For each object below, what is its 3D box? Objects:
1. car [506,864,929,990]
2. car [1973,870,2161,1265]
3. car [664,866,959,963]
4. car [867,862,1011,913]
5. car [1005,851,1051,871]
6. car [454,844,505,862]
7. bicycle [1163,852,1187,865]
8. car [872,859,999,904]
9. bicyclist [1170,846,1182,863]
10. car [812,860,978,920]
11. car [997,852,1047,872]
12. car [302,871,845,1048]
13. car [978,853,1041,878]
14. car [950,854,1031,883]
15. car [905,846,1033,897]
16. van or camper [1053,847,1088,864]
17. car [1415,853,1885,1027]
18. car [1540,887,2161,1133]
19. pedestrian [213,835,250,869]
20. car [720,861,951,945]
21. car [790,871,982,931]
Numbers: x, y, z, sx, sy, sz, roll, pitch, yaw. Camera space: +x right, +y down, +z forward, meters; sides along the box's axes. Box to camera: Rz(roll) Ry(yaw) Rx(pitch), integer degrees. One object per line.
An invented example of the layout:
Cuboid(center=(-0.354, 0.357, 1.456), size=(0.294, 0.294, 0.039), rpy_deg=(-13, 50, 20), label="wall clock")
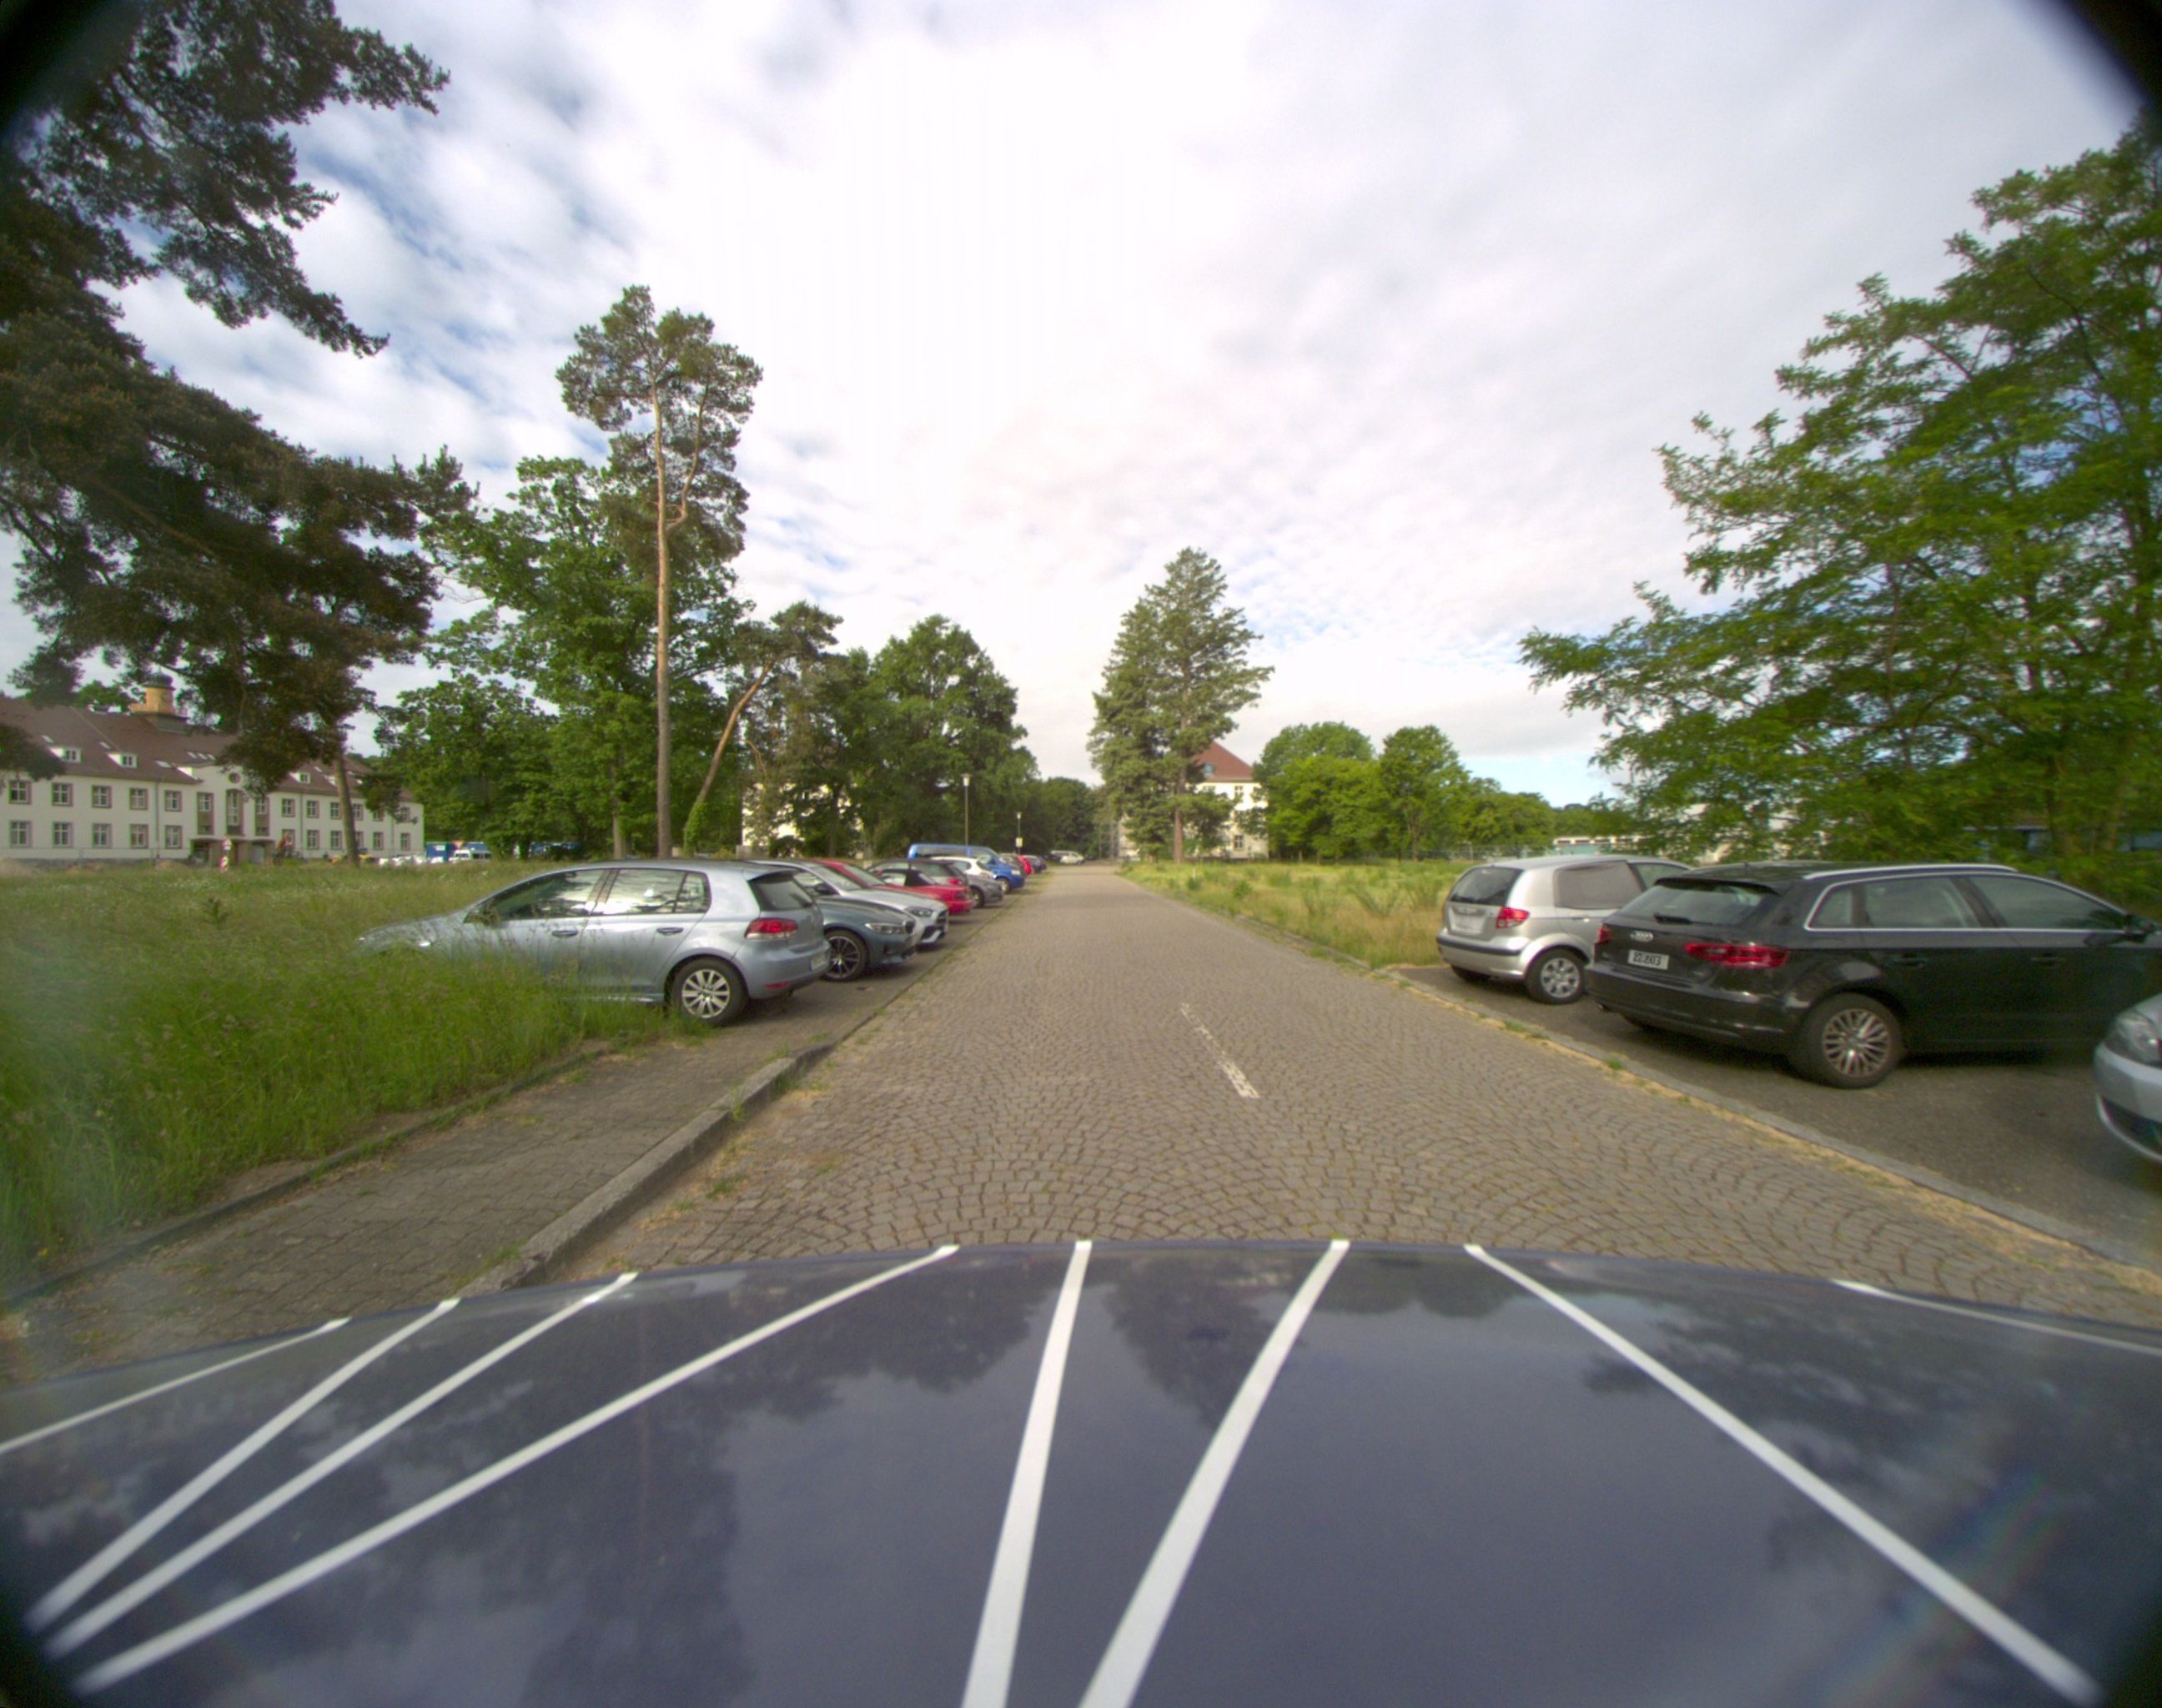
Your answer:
Cuboid(center=(-4.471, 0.882, 9.881), size=(4.630, 1.437, 1.796), rpy_deg=(0, 1, 0), label="car")
Cuboid(center=(6.677, 0.845, 2.974), size=(4.486, 1.580, 1.846), rpy_deg=(-1, 1, -4), label="car")
Cuboid(center=(-4.337, 0.951, 12.683), size=(4.266, 1.437, 1.797), rpy_deg=(0, 1, 2), label="car")
Cuboid(center=(-4.162, 0.966, 22.709), size=(3.933, 1.427, 1.796), rpy_deg=(0, 1, 0), label="car")
Cuboid(center=(-4.518, 0.577, 65.006), size=(3.791, 1.615, 2.000), rpy_deg=(0, 1, 1), label="car")
Cuboid(center=(-68.791, -0.081, 86.999), size=(2.166, 2.002, 4.833), rpy_deg=(0, 0, -2), label="car")
Cuboid(center=(10.690, 0.478, 86.219), size=(2.673, 1.496, 1.273), rpy_deg=(0, 0, 5), label="bicycle")
Cuboid(center=(-4.841, 0.902, 25.724), size=(3.933, 1.441, 1.796), rpy_deg=(0, 1, 0), label="car")
Cuboid(center=(10.768, 0.046, 86.217), size=(1.318, 1.857, 1.250), rpy_deg=(0, 1, 5), label="bicyclist")
Cuboid(center=(-4.804, 0.913, 20.010), size=(3.933, 1.467, 1.796), rpy_deg=(0, 1, 1), label="car")
Cuboid(center=(-4.691, 0.613, 60.525), size=(3.791, 1.560, 2.000), rpy_deg=(0, 1, 1), label="car")
Cuboid(center=(-4.550, 0.907, 7.287), size=(3.997, 1.410, 1.796), rpy_deg=(0, 1, 1), label="car")
Cuboid(center=(-4.684, 0.747, 50.216), size=(3.998, 1.560, 1.999), rpy_deg=(0, 1, -3), label="car")
Cuboid(center=(-4.702, 0.743, 39.921), size=(3.996, 1.495, 1.869), rpy_deg=(0, 1, 2), label="car")
Cuboid(center=(-4.495, 0.678, 30.989), size=(4.839, 2.002, 2.000), rpy_deg=(0, 1, 4), label="car")
Cuboid(center=(-1.581, 0.234, 114.056), size=(5.248, 2.449, 2.208), rpy_deg=(0, 1, -3), label="van or camper")
Cuboid(center=(6.044, 0.833, 8.344), size=(3.985, 1.448, 1.680), rpy_deg=(-3, 1, -5), label="car")
Cuboid(center=(6.300, 1.004, 5.686), size=(4.633, 1.414, 1.884), rpy_deg=(0, 0, -3), label="car")
Cuboid(center=(-54.956, -0.106, 49.138), size=(1.184, 2.165, 1.056), rpy_deg=(0, 1, 0), label="pedestrian")
Cuboid(center=(-4.709, 0.917, 14.968), size=(3.932, 1.504, 1.797), rpy_deg=(0, 1, 2), label="car")
Cuboid(center=(-4.360, 1.035, 17.410), size=(3.933, 1.227, 1.797), rpy_deg=(0, 0, 1), label="car")
